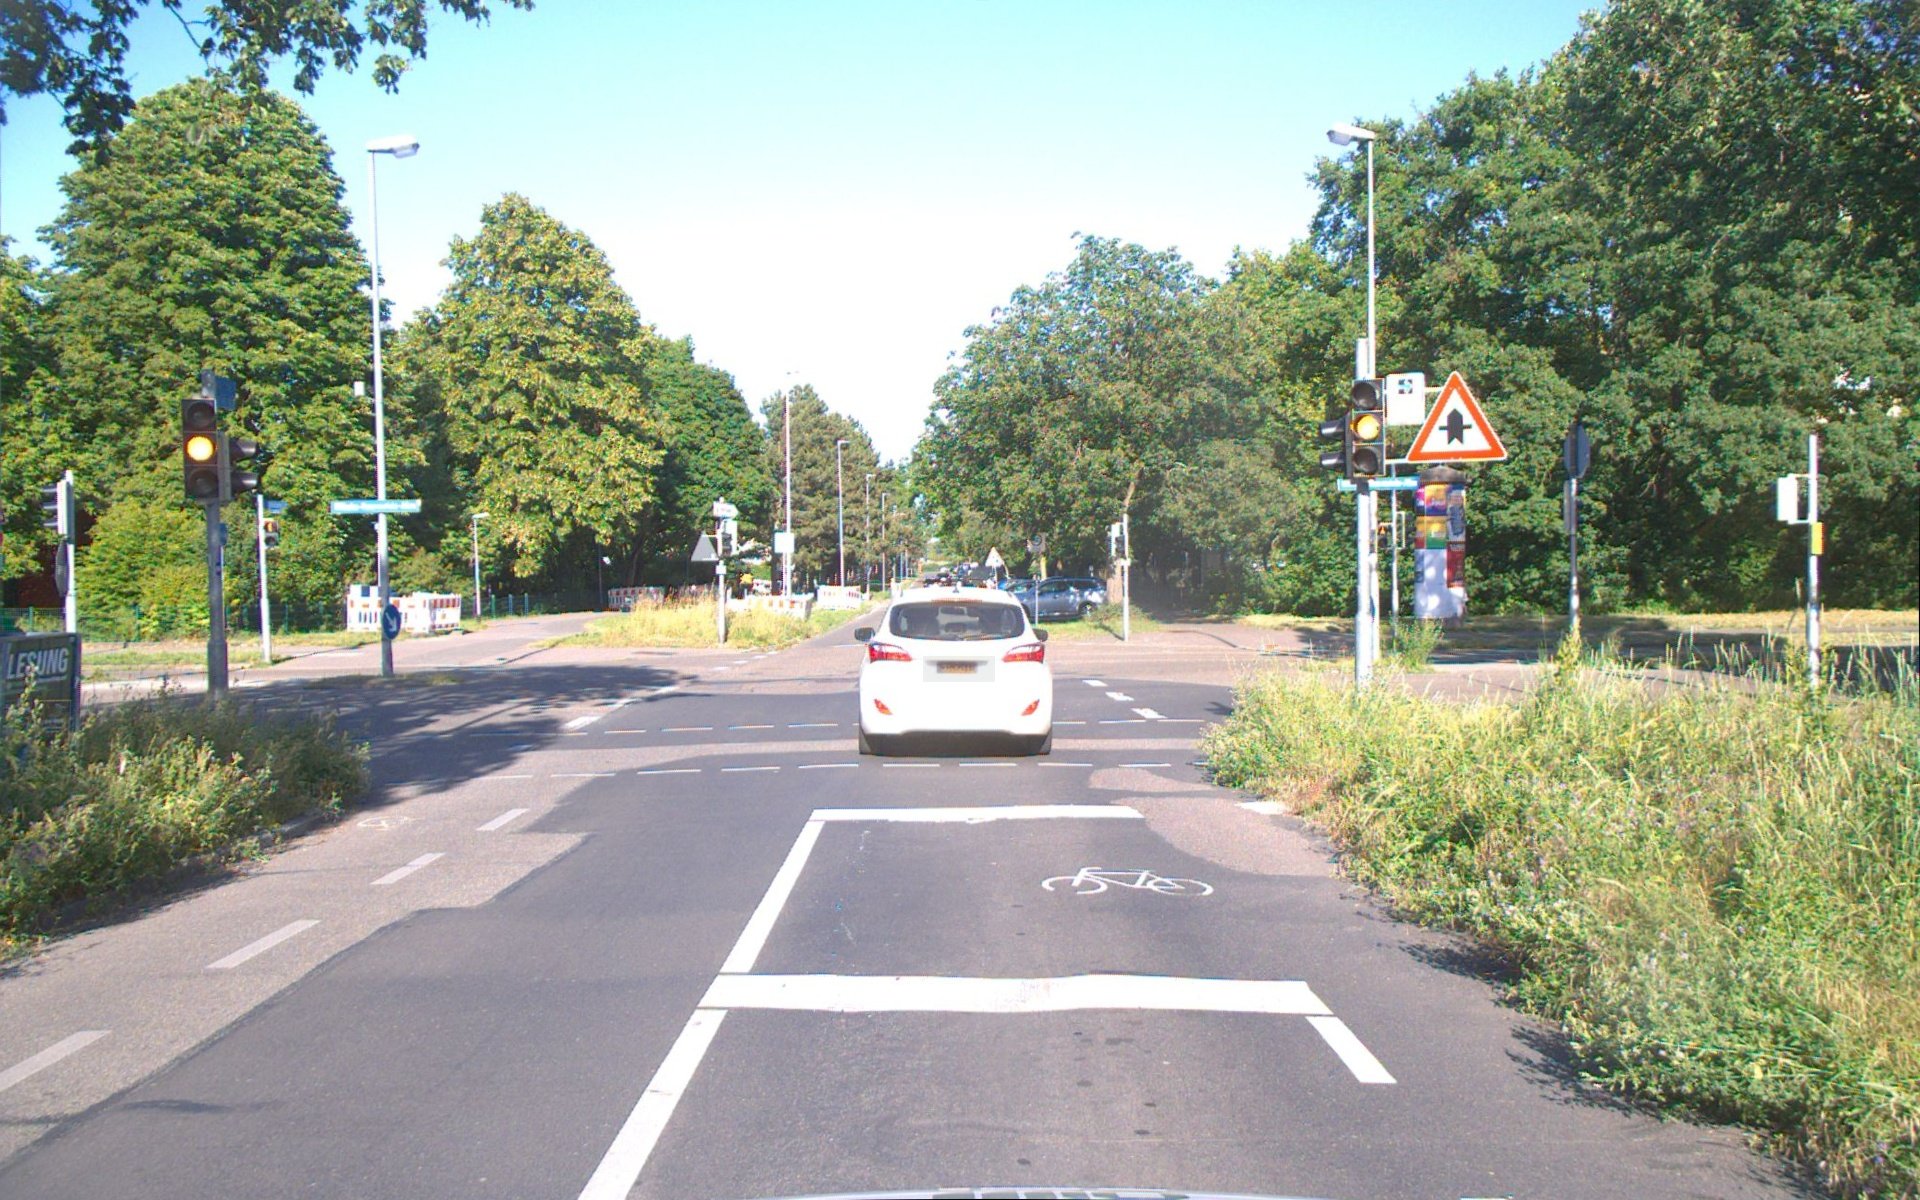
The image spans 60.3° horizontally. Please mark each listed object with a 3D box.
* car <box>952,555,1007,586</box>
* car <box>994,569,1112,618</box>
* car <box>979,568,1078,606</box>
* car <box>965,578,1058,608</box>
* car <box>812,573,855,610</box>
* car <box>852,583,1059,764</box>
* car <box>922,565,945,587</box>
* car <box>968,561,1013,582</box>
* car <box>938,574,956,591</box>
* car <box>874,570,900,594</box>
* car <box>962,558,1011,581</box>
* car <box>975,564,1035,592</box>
[{"bbox_3d":[1.339,-2.034,115.348,3.741,2.135,1.863,1,0,-1],"label":"car"},{"bbox_3d":[3.543,-0.260,63.277,4.405,1.814,1.855,-1,1,2],"label":"car"},{"bbox_3d":[3.118,-0.597,75.466,4.405,1.658,1.855,-1,1,2],"label":"car"},{"bbox_3d":[3.040,-0.446,98.874,5.499,1.713,1.948,1,0,-1],"label":"car"},{"bbox_3d":[-6.658,-0.476,87.378,1.953,1.847,4.000,1,1,0],"label":"car"},{"bbox_3d":[-0.059,0.602,16.011,1.753,1.488,3.963,0,1,-1],"label":"car"},{"bbox_3d":[-2.266,-2.091,142.633,1.953,1.847,4.000,2,1,0],"label":"car"},{"bbox_3d":[2.546,-2.400,139.533,3.741,1.798,1.863,1,0,-1],"label":"car"},{"bbox_3d":[-1.398,-1.953,181.616,1.953,1.847,4.000,1,1,0],"label":"car"},{"bbox_3d":[-6.000,-1.493,135.759,1.953,1.847,4.000,-1,1,0],"label":"car"},{"bbox_3d":[2.291,-2.606,142.677,4.214,1.941,1.863,1,0,-1],"label":"car"},{"bbox_3d":[2.865,-1.392,105.335,3.741,1.713,1.863,1,0,-1],"label":"car"}]
